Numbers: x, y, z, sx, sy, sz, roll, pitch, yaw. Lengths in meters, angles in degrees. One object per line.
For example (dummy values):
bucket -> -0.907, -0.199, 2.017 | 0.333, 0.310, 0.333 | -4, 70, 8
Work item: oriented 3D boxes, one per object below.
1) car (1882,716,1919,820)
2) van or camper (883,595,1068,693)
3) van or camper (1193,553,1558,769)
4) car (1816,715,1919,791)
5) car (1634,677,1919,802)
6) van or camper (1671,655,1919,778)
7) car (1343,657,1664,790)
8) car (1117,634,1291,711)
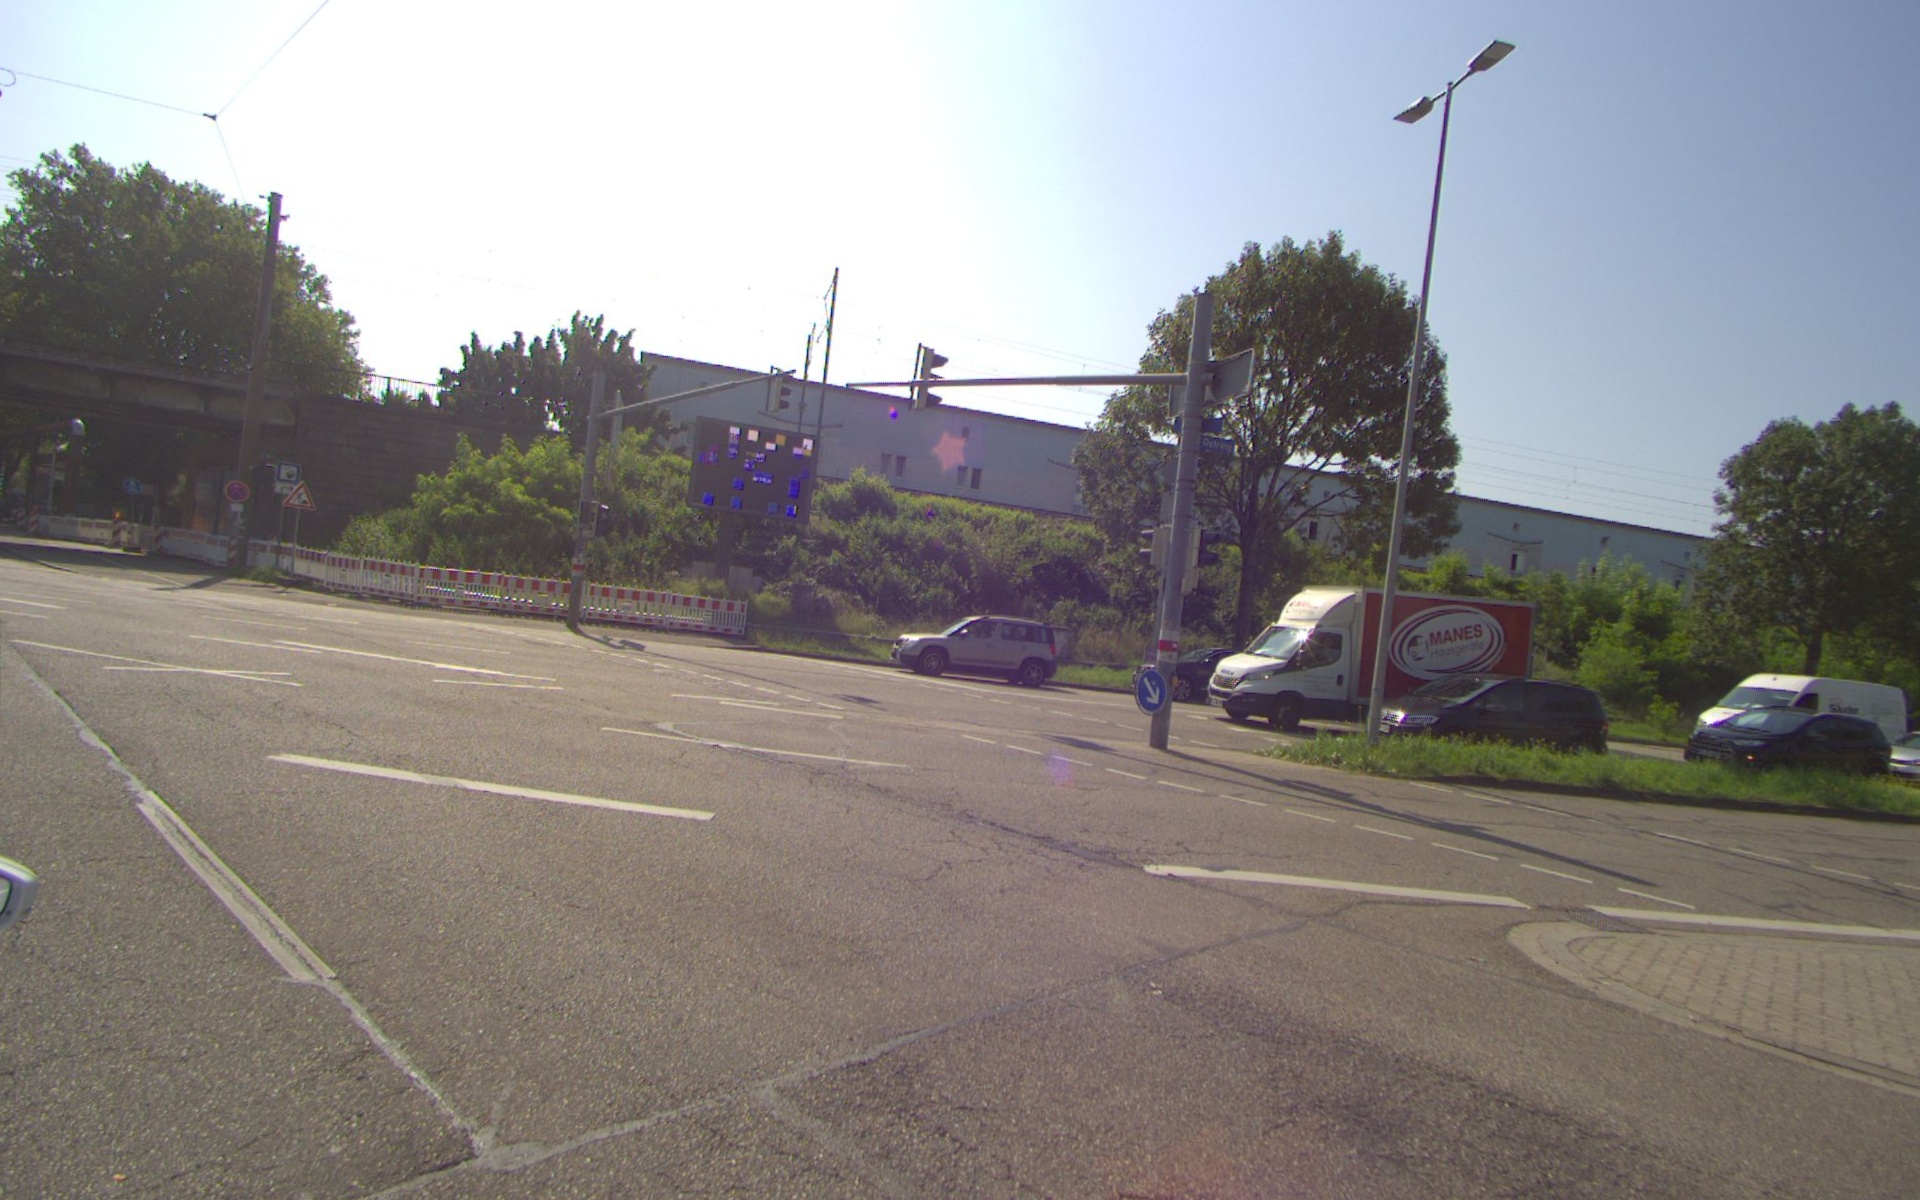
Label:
car -> 24.268, 4.199, 22.852 | 5.141, 2.286, 2.246 | 9, -2, -12
van or camper -> 0.344, 1.105, 25.101 | 4.110, 1.796, 1.848 | 9, -2, -14
van or camper -> 8.700, 1.312, 21.205 | 6.743, 3.399, 2.246 | 9, -2, -13
car -> 25.253, 4.181, 25.999 | 4.896, 1.627, 2.163 | 9, -3, -12
car -> 17.015, 2.866, 20.719 | 5.141, 1.759, 2.143 | 9, -3, -13
van or camper -> 23.985, 3.304, 28.538 | 6.761, 2.510, 2.245 | 9, -2, -15
car -> 9.982, 2.253, 18.585 | 5.114, 1.631, 1.903 | 9, -3, -13
car -> 6.471, 1.921, 26.785 | 3.939, 1.570, 1.995 | 7, -2, -16
